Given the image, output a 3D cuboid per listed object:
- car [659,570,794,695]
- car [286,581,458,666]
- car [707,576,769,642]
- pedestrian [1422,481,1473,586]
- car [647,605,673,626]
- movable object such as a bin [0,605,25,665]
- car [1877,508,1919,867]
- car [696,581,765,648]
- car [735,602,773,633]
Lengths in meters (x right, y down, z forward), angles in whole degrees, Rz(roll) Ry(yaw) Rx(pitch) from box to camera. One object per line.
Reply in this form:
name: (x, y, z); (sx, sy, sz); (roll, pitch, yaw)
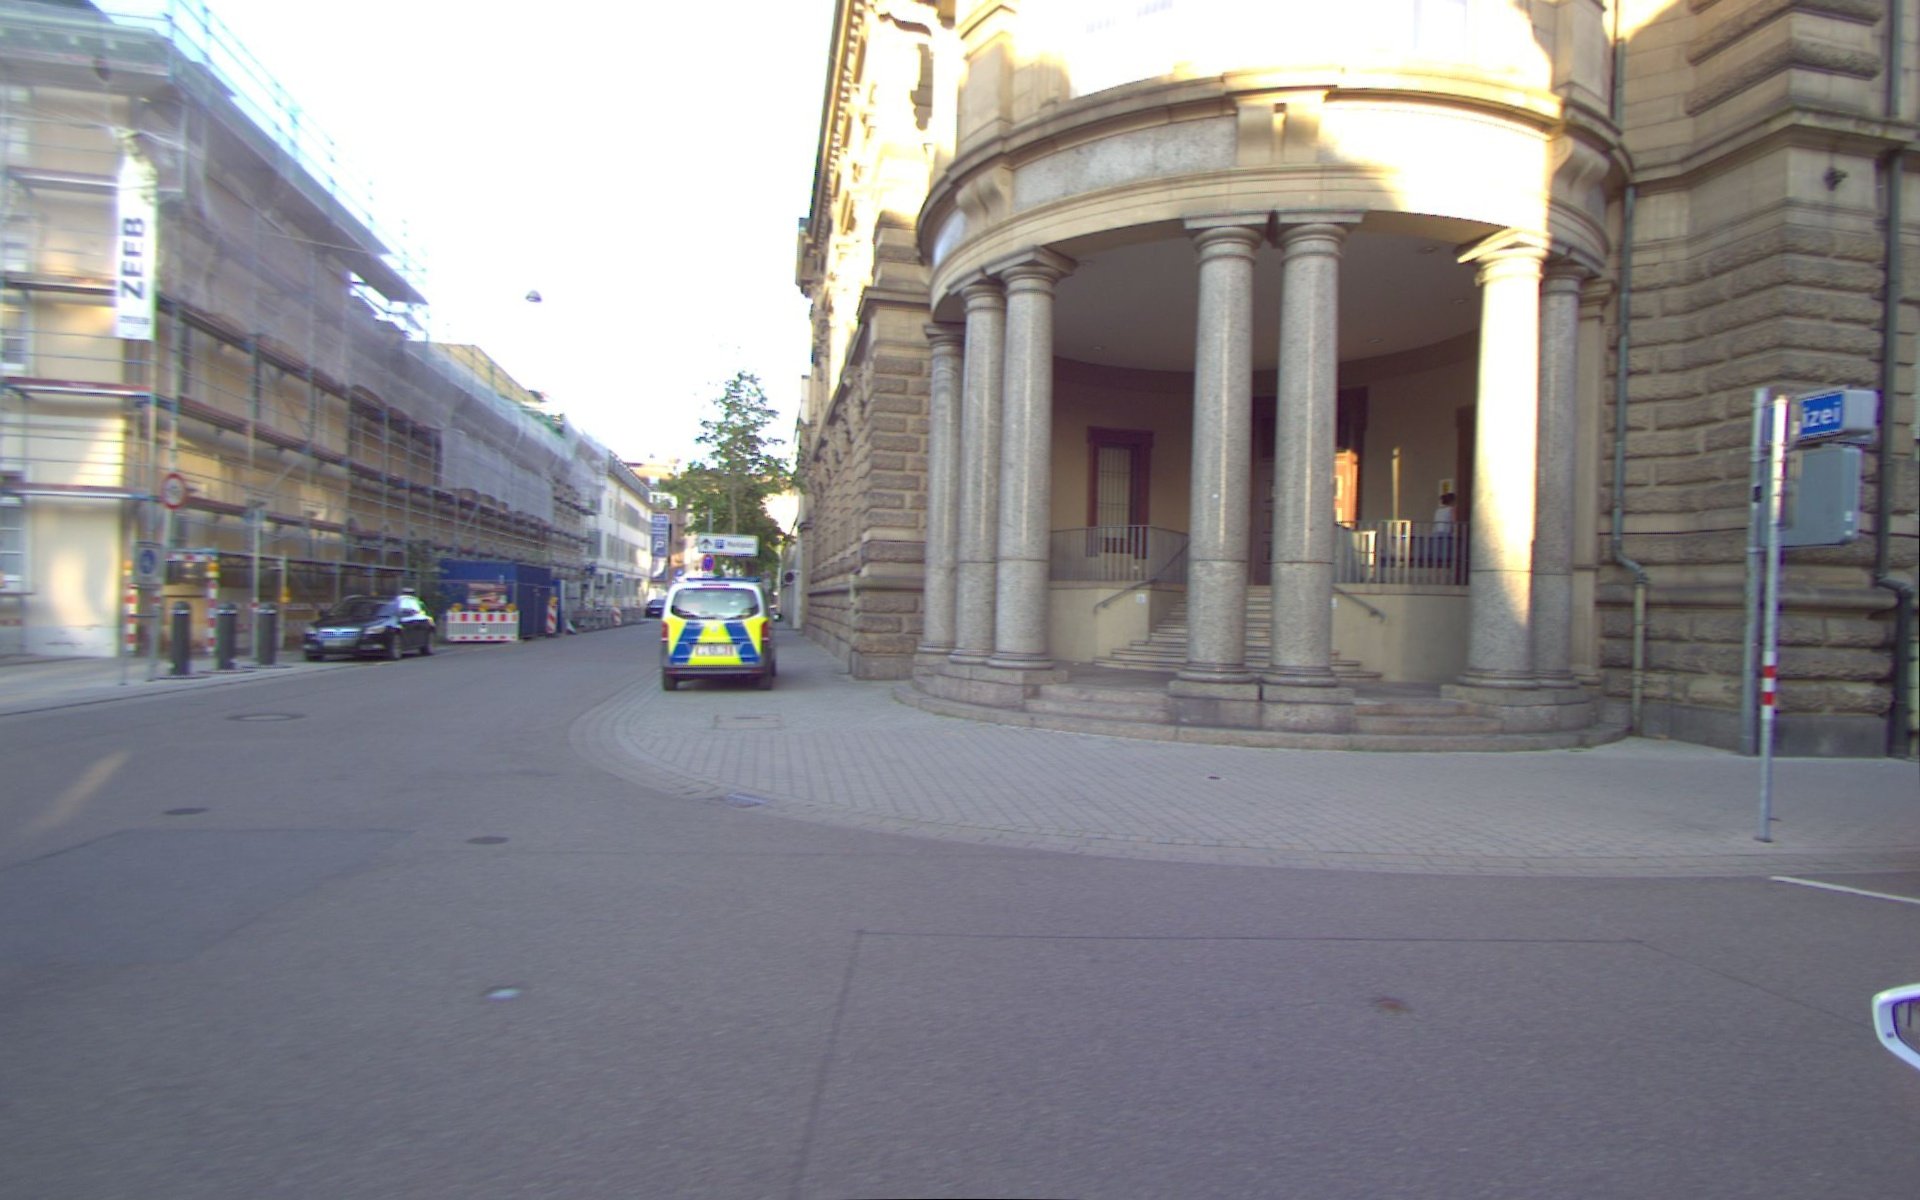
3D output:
car: (-4.192, 0.558, 18.639); (1.963, 2.040, 3.996); (1, 0, -6)
car: (-13.539, 0.518, 23.444); (1.963, 1.759, 3.996); (2, 0, -6)
car: (-8.954, 0.363, 40.810); (2.189, 2.478, 3.993); (2, 0, -10)
pedestrian: (8.252, -1.106, 17.019); (0.523, 1.704, 0.545); (2, -1, -27)
car: (-25.281, 1.282, 84.763); (1.967, 1.627, 4.072); (2, -1, -16)
movable object such as a bin: (-17.840, 0.636, 18.371); (0.709, 1.091, 0.811); (2, 0, -8)
car: (8.545, 0.606, 6.009); (5.118, 2.200, 1.995); (2, 0, -14)
car: (-7.507, 0.469, 33.172); (1.964, 2.040, 3.993); (2, 0, -10)
car: (-12.281, 1.022, 59.955); (2.056, 1.789, 3.993); (2, 0, -10)
